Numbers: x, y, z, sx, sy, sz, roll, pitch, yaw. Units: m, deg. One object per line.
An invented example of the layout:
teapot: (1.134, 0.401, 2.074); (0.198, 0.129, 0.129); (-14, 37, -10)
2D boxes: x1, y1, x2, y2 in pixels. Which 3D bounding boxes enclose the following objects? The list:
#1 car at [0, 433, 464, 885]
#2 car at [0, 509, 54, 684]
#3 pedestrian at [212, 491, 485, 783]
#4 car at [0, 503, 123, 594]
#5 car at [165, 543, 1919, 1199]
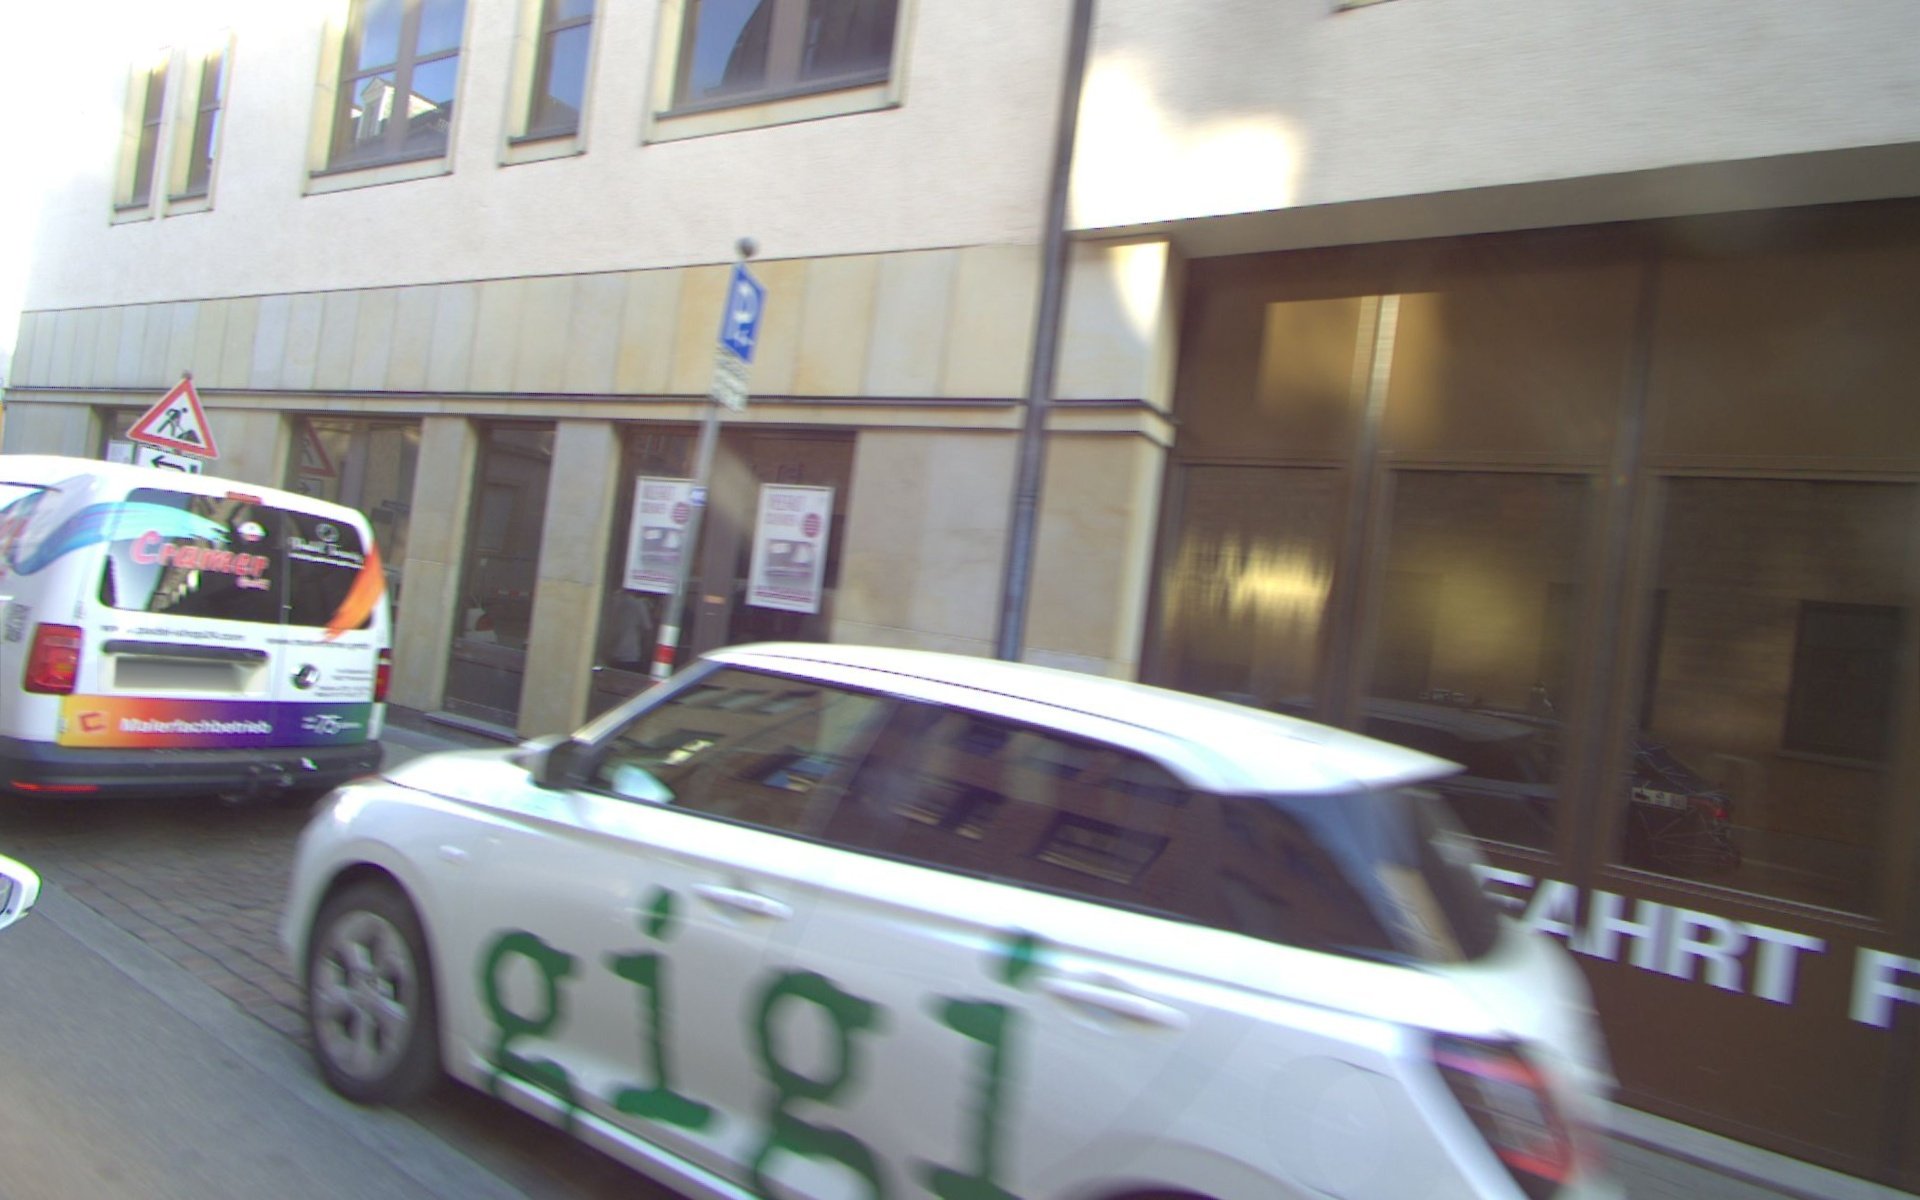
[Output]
car: (-5.535, 0.089, 6.084); (5.125, 1.811, 1.835); (7, -2, 30)
car: (-10.522, -0.305, 9.134); (3.990, 1.535, 1.895); (7, -2, 25)
pedestrian: (-4.317, 0.254, 7.143); (1.178, 1.822, 1.044); (6, -1, 30)
car: (-19.657, -1.225, 19.935); (1.869, 1.570, 4.228); (7, -2, 28)
car: (-0.211, 0.891, 3.008); (4.097, 1.494, 1.847); (7, -4, 30)
